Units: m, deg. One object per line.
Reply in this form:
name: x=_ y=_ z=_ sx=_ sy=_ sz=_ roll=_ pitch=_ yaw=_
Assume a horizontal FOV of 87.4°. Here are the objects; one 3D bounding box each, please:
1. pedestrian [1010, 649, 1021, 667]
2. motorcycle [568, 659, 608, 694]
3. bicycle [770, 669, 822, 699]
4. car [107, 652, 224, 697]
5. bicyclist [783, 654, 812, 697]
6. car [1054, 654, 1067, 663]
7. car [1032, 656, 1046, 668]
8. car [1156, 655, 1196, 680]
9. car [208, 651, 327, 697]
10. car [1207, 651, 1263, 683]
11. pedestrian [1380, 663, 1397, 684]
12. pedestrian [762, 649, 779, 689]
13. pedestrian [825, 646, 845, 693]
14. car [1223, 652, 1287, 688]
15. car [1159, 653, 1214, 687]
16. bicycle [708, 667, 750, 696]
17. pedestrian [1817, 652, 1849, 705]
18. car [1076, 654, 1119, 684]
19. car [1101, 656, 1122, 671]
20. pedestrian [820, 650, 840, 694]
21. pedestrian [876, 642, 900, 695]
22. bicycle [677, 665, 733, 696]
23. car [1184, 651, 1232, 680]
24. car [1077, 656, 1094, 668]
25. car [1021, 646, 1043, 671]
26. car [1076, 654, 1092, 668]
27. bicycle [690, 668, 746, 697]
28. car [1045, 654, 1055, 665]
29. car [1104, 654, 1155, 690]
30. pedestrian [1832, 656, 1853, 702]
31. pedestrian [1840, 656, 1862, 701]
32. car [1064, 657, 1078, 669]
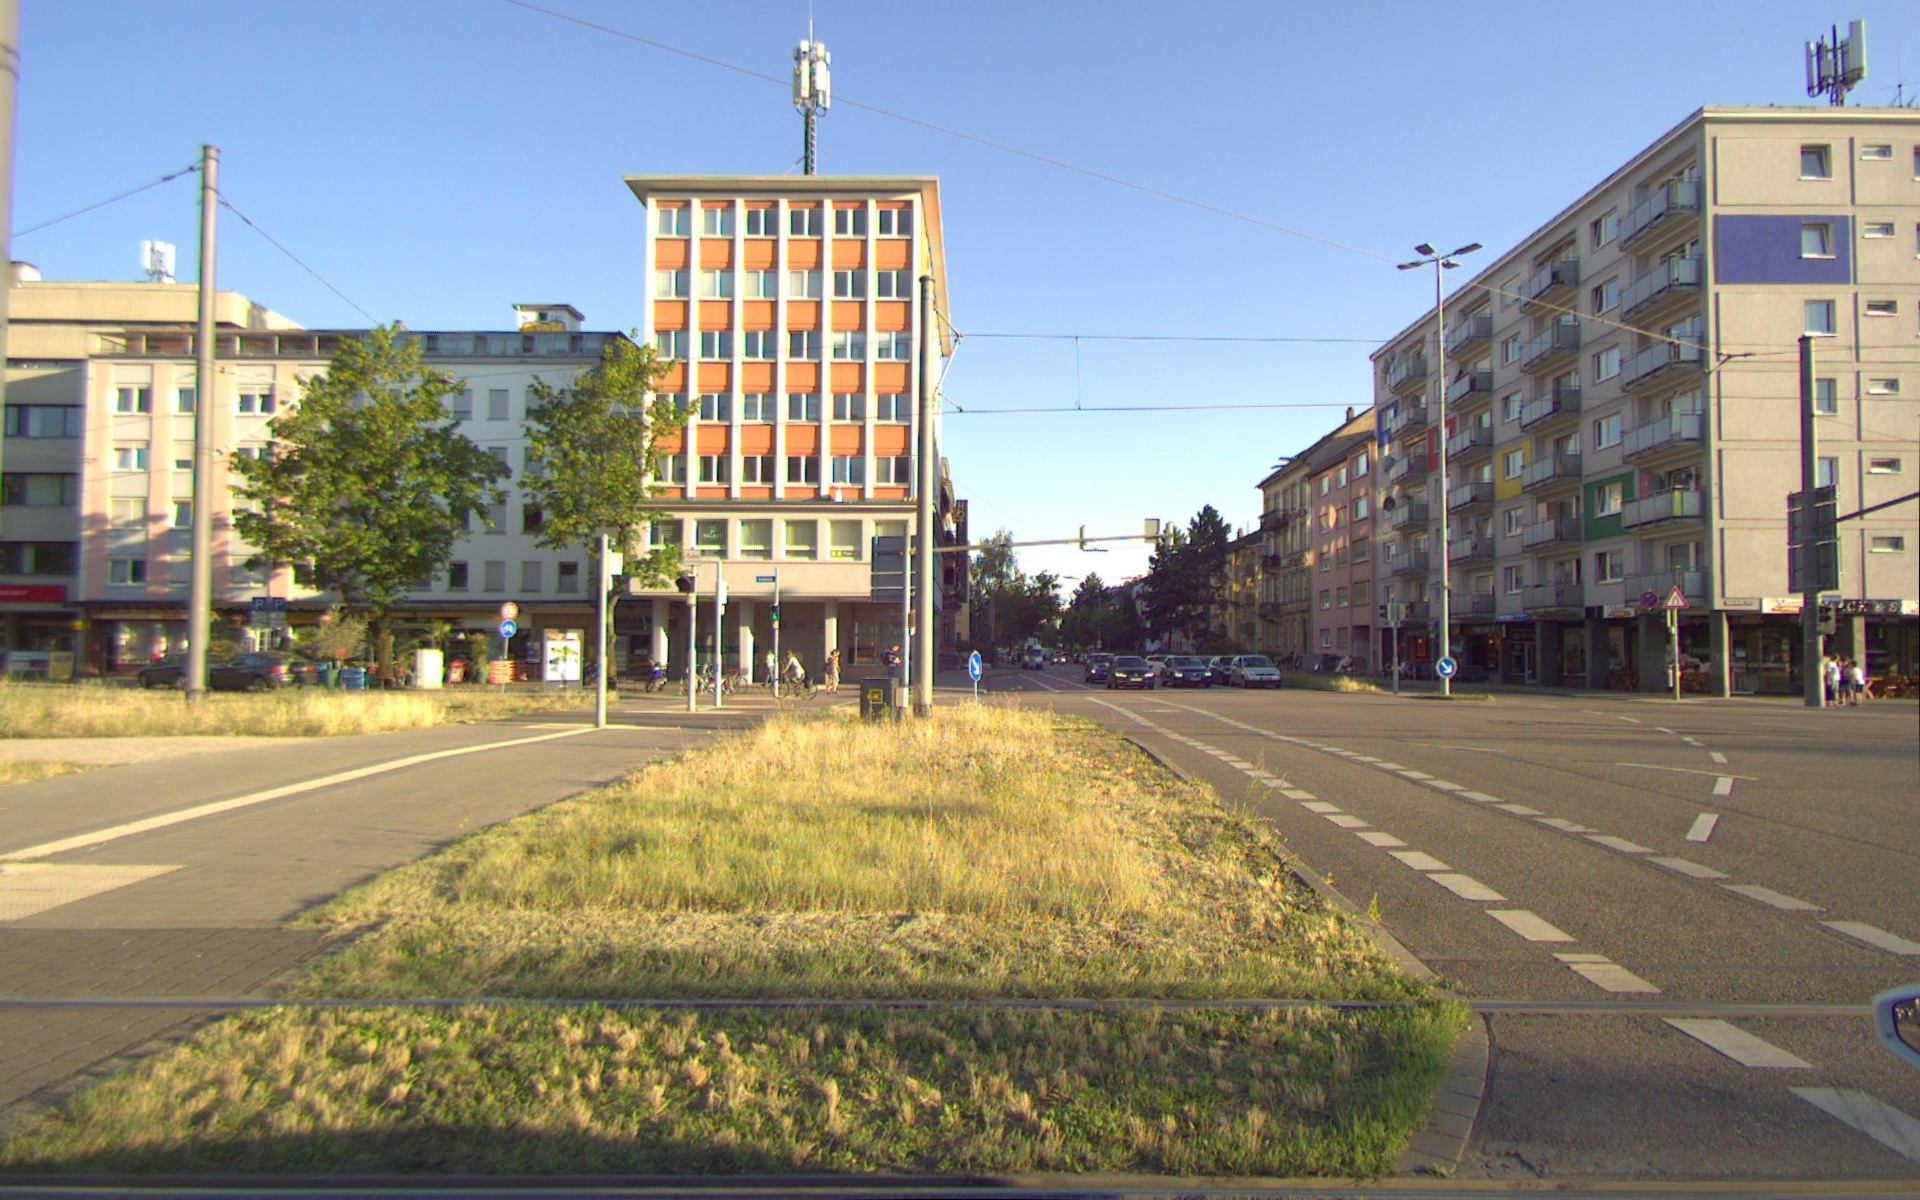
pedestrian: x=6.350 y=6.593 z=114.136 sx=1.008 sy=2.040 sz=0.943 roll=1 pitch=-2 yaw=-12
motorcycle: x=-14.269 y=2.936 z=38.534 sx=1.362 sy=1.335 sz=0.381 roll=0 pitch=-2 yaw=2
bicycle: x=-5.494 y=2.811 z=33.707 sx=1.634 sy=0.956 sz=0.510 roll=0 pitch=-2 yaw=10
car: x=-32.622 y=3.020 z=41.250 sx=3.922 sy=1.724 sz=2.000 roll=-1 pitch=-3 yaw=20
bicyclist: x=-5.441 y=2.525 z=33.708 sx=0.840 sy=1.445 sz=0.501 roll=0 pitch=-2 yaw=9
car: x=17.700 y=10.303 z=176.664 sx=1.960 sy=1.537 sz=4.222 roll=0 pitch=-3 yaw=1
car: x=16.123 y=12.631 z=204.603 sx=2.573 sy=2.407 sz=5.258 roll=0 pitch=-3 yaw=2
car: x=13.769 y=4.290 z=64.334 sx=1.960 sy=1.505 sz=4.003 roll=0 pitch=-3 yaw=4
car: x=-27.435 y=2.888 z=39.808 sx=3.922 sy=1.706 sz=2.000 roll=-1 pitch=-3 yaw=21
car: x=13.605 y=3.302 z=49.931 sx=1.960 sy=1.505 sz=4.003 roll=0 pitch=-3 yaw=4
pedestrian: x=26.534 y=4.559 z=62.195 sx=0.699 sy=1.272 sz=0.793 roll=0 pitch=-3 yaw=-3
pedestrian: x=-8.593 y=3.124 z=45.600 sx=0.628 sy=1.815 sz=0.585 roll=0 pitch=-2 yaw=-1
pedestrian: x=-5.042 y=2.801 z=40.636 sx=0.699 sy=1.842 sz=0.752 roll=0 pitch=-2 yaw=1
car: x=13.193 y=3.097 z=45.119 sx=1.960 sy=1.505 sz=4.003 roll=0 pitch=-3 yaw=4
car: x=10.597 y=3.256 z=47.288 sx=1.960 sy=1.505 sz=4.003 roll=0 pitch=-3 yaw=4
bicycle: x=-8.945 y=3.164 z=38.946 sx=1.530 sy=1.089 sz=0.395 roll=0 pitch=-2 yaw=0
pedestrian: x=27.711 y=2.482 z=31.887 sx=0.597 sy=1.641 sz=0.568 roll=1 pitch=-3 yaw=-31
car: x=7.517 y=3.773 z=55.330 sx=1.960 sy=1.551 sz=4.002 roll=0 pitch=-2 yaw=2
car: x=17.280 y=7.239 z=114.754 sx=1.960 sy=1.537 sz=4.222 roll=0 pitch=-3 yaw=1
pedestrian: x=-5.165 y=2.851 z=39.925 sx=0.715 sy=1.707 sz=0.585 roll=0 pitch=-2 yaw=-1
pedestrian: x=-2.714 y=2.569 z=37.782 sx=0.713 sy=1.972 sz=0.714 roll=1 pitch=-2 yaw=-22
bicycle: x=-9.208 y=2.916 z=36.291 sx=1.869 sy=1.089 sz=0.469 roll=0 pitch=-2 yaw=0
car: x=13.810 y=3.636 z=56.073 sx=1.960 sy=1.505 sz=4.003 roll=0 pitch=-3 yaw=4
car: x=17.436 y=8.571 z=139.353 sx=1.960 sy=1.537 sz=4.222 roll=0 pitch=-3 yaw=1
car: x=7.025 y=5.723 z=98.507 sx=1.960 sy=2.354 sz=4.222 roll=0 pitch=-3 yaw=1
car: x=17.875 y=8.808 z=144.792 sx=1.960 sy=2.023 sz=4.222 roll=0 pitch=-3 yaw=1
bicycle: x=-9.065 y=3.093 z=37.697 sx=1.956 sy=1.089 sz=0.469 roll=0 pitch=-2 yaw=0
car: x=19.434 y=12.894 z=217.576 sx=1.960 sy=2.407 sz=4.002 roll=0 pitch=-3 yaw=2
car: x=7.499 y=3.161 z=44.775 sx=1.848 sy=1.505 sz=4.003 roll=0 pitch=-3 yaw=4
pedestrian: x=28.723 y=2.563 z=32.699 sx=0.389 sy=1.467 sz=0.375 roll=1 pitch=-2 yaw=-27
pedestrian: x=28.443 y=2.503 z=32.051 sx=0.390 sy=1.401 sz=0.380 roll=1 pitch=-2 yaw=-27
car: x=17.993 y=10.200 z=163.470 sx=1.960 sy=1.857 sz=4.222 roll=0 pitch=-2 yaw=1
